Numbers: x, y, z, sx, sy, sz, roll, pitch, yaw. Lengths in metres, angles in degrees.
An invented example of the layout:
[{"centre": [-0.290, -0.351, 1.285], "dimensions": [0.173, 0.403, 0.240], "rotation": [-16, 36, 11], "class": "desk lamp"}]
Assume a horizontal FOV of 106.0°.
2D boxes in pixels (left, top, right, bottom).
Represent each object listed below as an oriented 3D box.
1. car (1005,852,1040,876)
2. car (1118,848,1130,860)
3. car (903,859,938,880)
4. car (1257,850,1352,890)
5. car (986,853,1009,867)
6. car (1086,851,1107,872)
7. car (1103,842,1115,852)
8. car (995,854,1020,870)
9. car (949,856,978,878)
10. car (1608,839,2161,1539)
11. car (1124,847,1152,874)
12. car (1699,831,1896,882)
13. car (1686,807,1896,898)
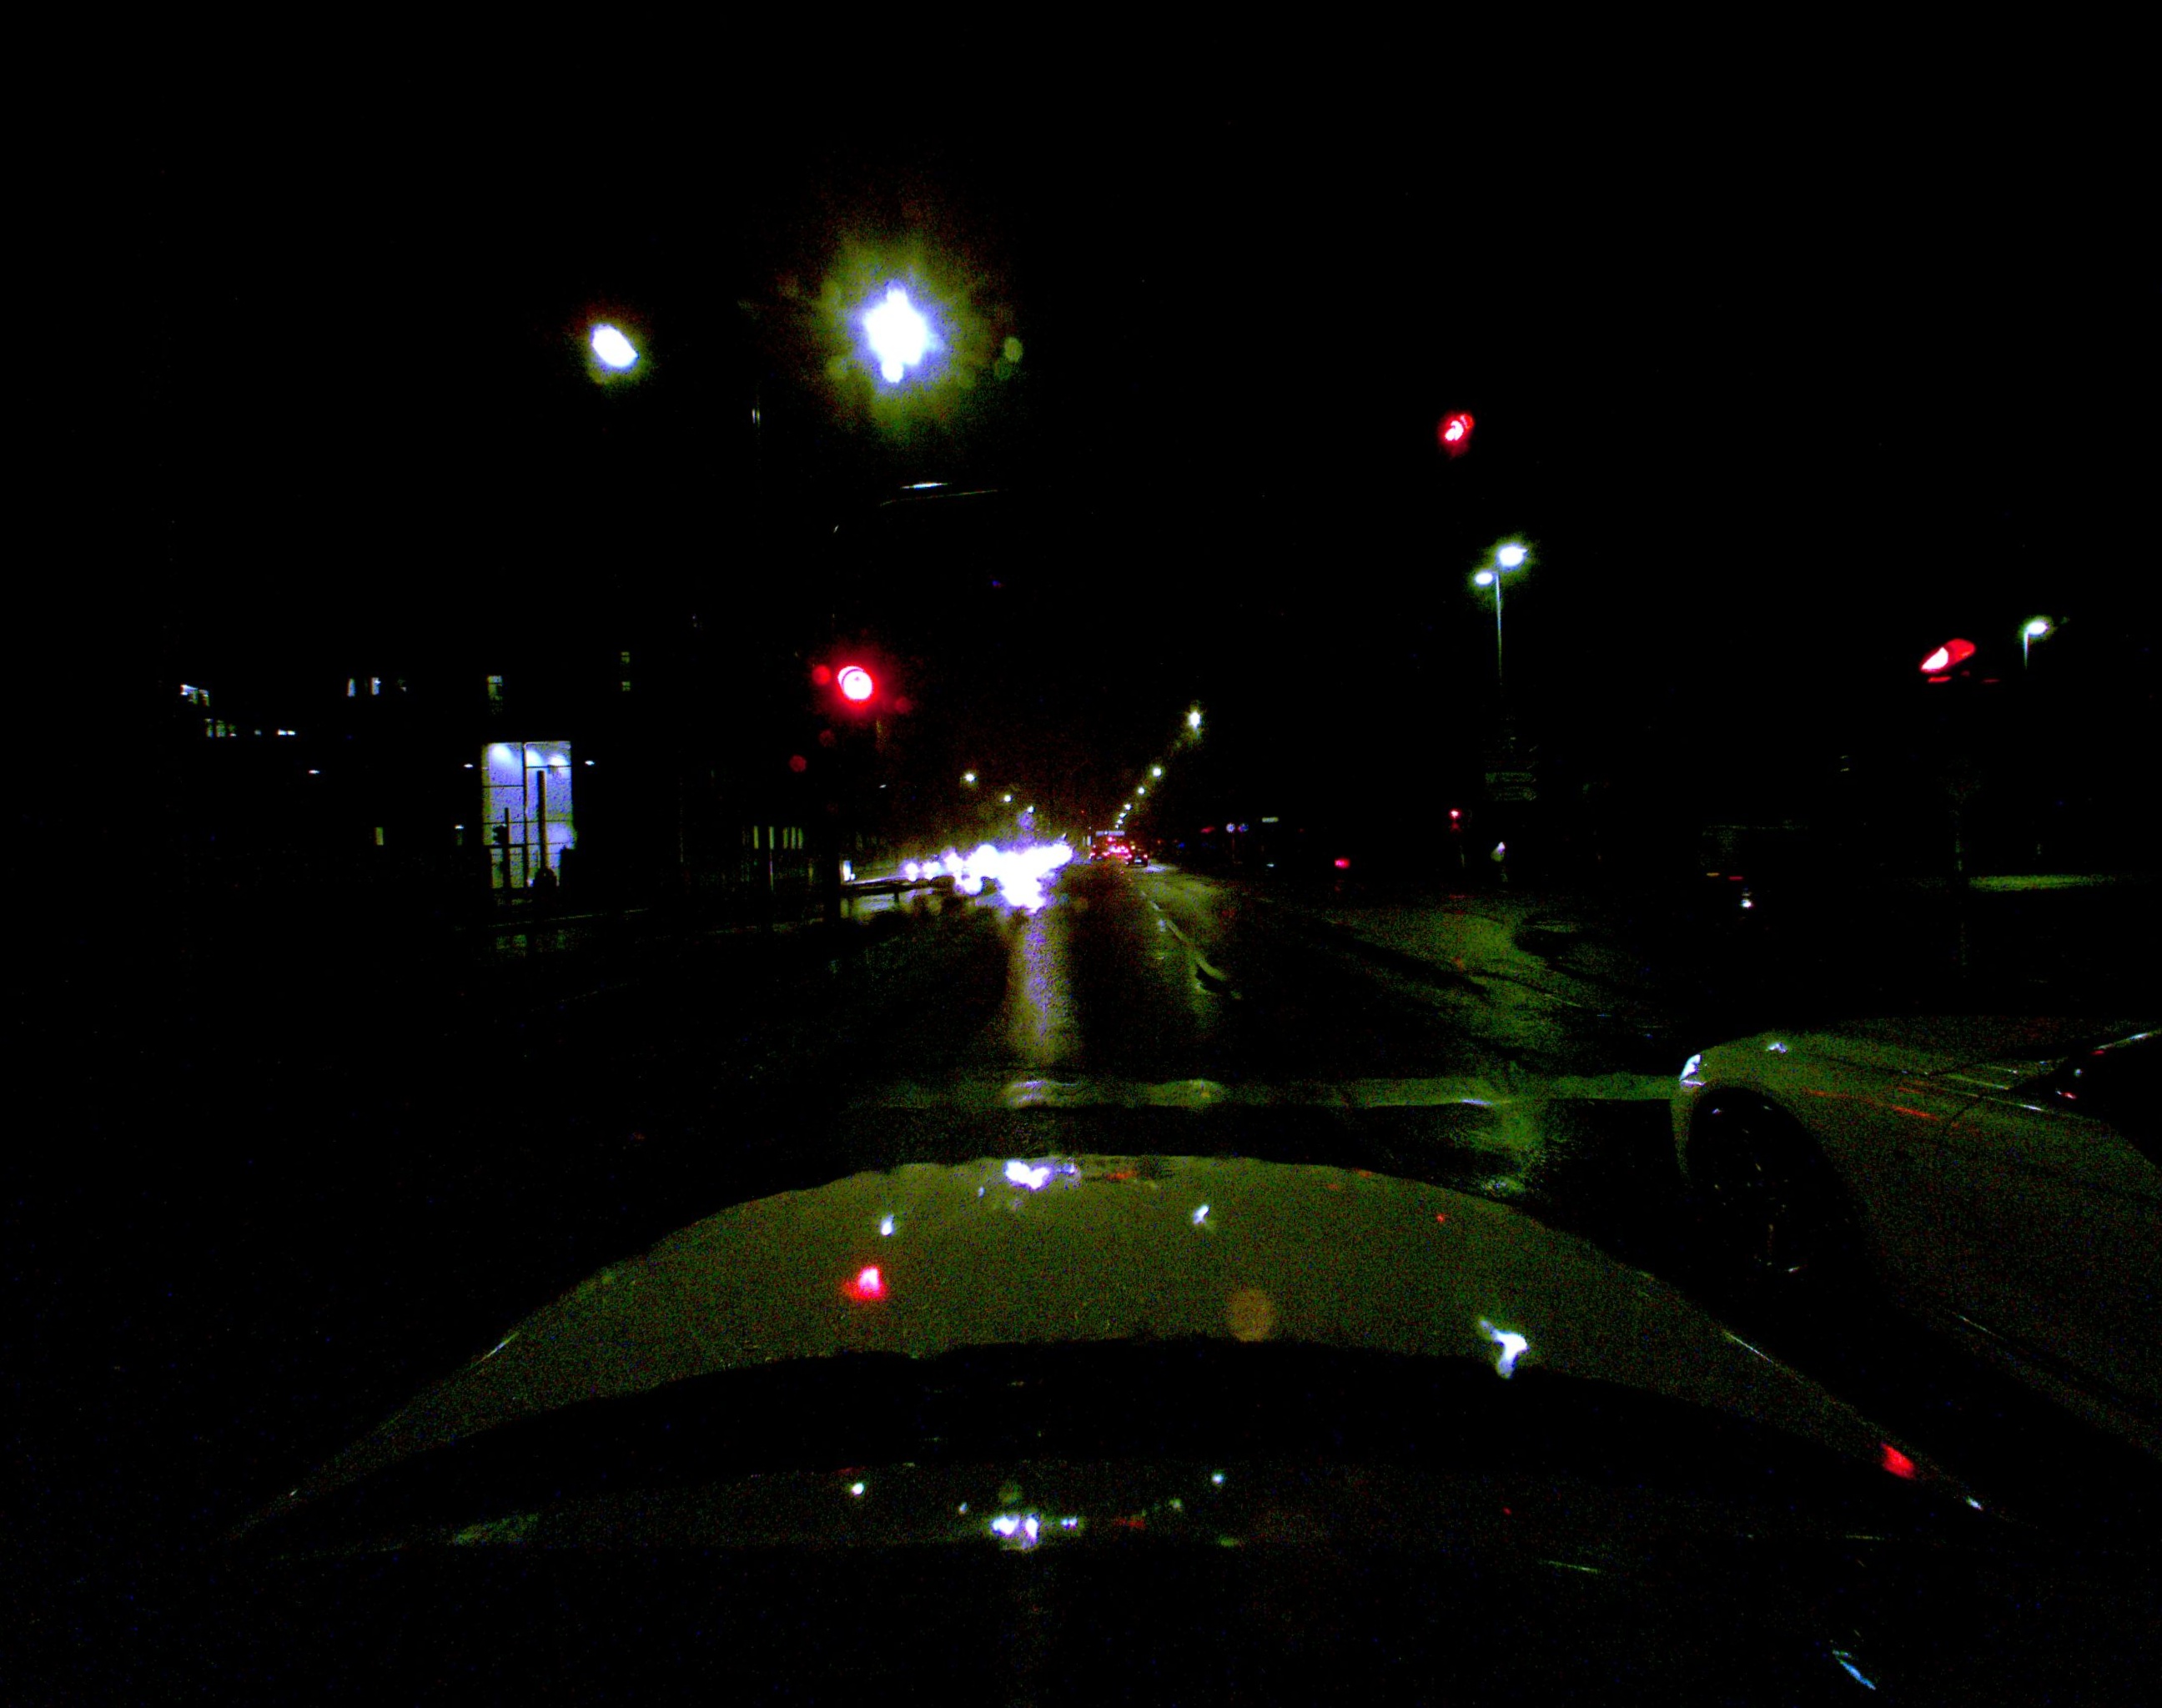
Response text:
[{"centre": [-4.137, 0.714, 58.586], "dimensions": [1.986, 1.610, 4.971], "rotation": [-1, -1, 1], "class": "car"}, {"centre": [7.729, -0.034, 145.738], "dimensions": [2.029, 2.014, 4.311], "rotation": [-1, -1, 4], "class": "car"}, {"centre": [-12.512, 1.197, 63.613], "dimensions": [1.794, 1.564, 4.001], "rotation": [-1, -1, 2], "class": "car"}, {"centre": [10.497, 0.770, 38.287], "dimensions": [3.949, 1.780, 1.920], "rotation": [-2, -1, 27], "class": "car"}, {"centre": [-9.193, 0.675, 89.631], "dimensions": [1.878, 1.552, 4.435], "rotation": [-1, -1, 2], "class": "car"}, {"centre": [1.603, 0.752, 81.687], "dimensions": [1.986, 2.014, 4.001], "rotation": [-1, -1, 2], "class": "car"}, {"centre": [6.307, -1.513, 184.787], "dimensions": [2.434, 2.194, 5.076], "rotation": [-1, -1, -1], "class": "car"}, {"centre": [-7.100, 0.781, 79.459], "dimensions": [1.878, 1.552, 4.435], "rotation": [-1, -1, 2], "class": "car"}, {"centre": [-9.888, 1.085, 68.557], "dimensions": [1.744, 1.709, 4.497], "rotation": [-3, -1, -1], "class": "car"}, {"centre": [3.125, 0.695, 1.299], "dimensions": [1.714, 1.446, 4.383], "rotation": [-3, -1, 1], "class": "car"}, {"centre": [4.826, 0.554, 69.207], "dimensions": [2.200, 2.215, 3.644], "rotation": [-1, -1, 2], "class": "car"}, {"centre": [24.374, 0.103, 27.892], "dimensions": [4.823, 1.590, 1.857], "rotation": [-1, -1, 8], "class": "car"}, {"centre": [16.981, -0.028, 19.597], "dimensions": [3.545, 2.014, 1.703], "rotation": [-1, -1, -1], "class": "car"}]
